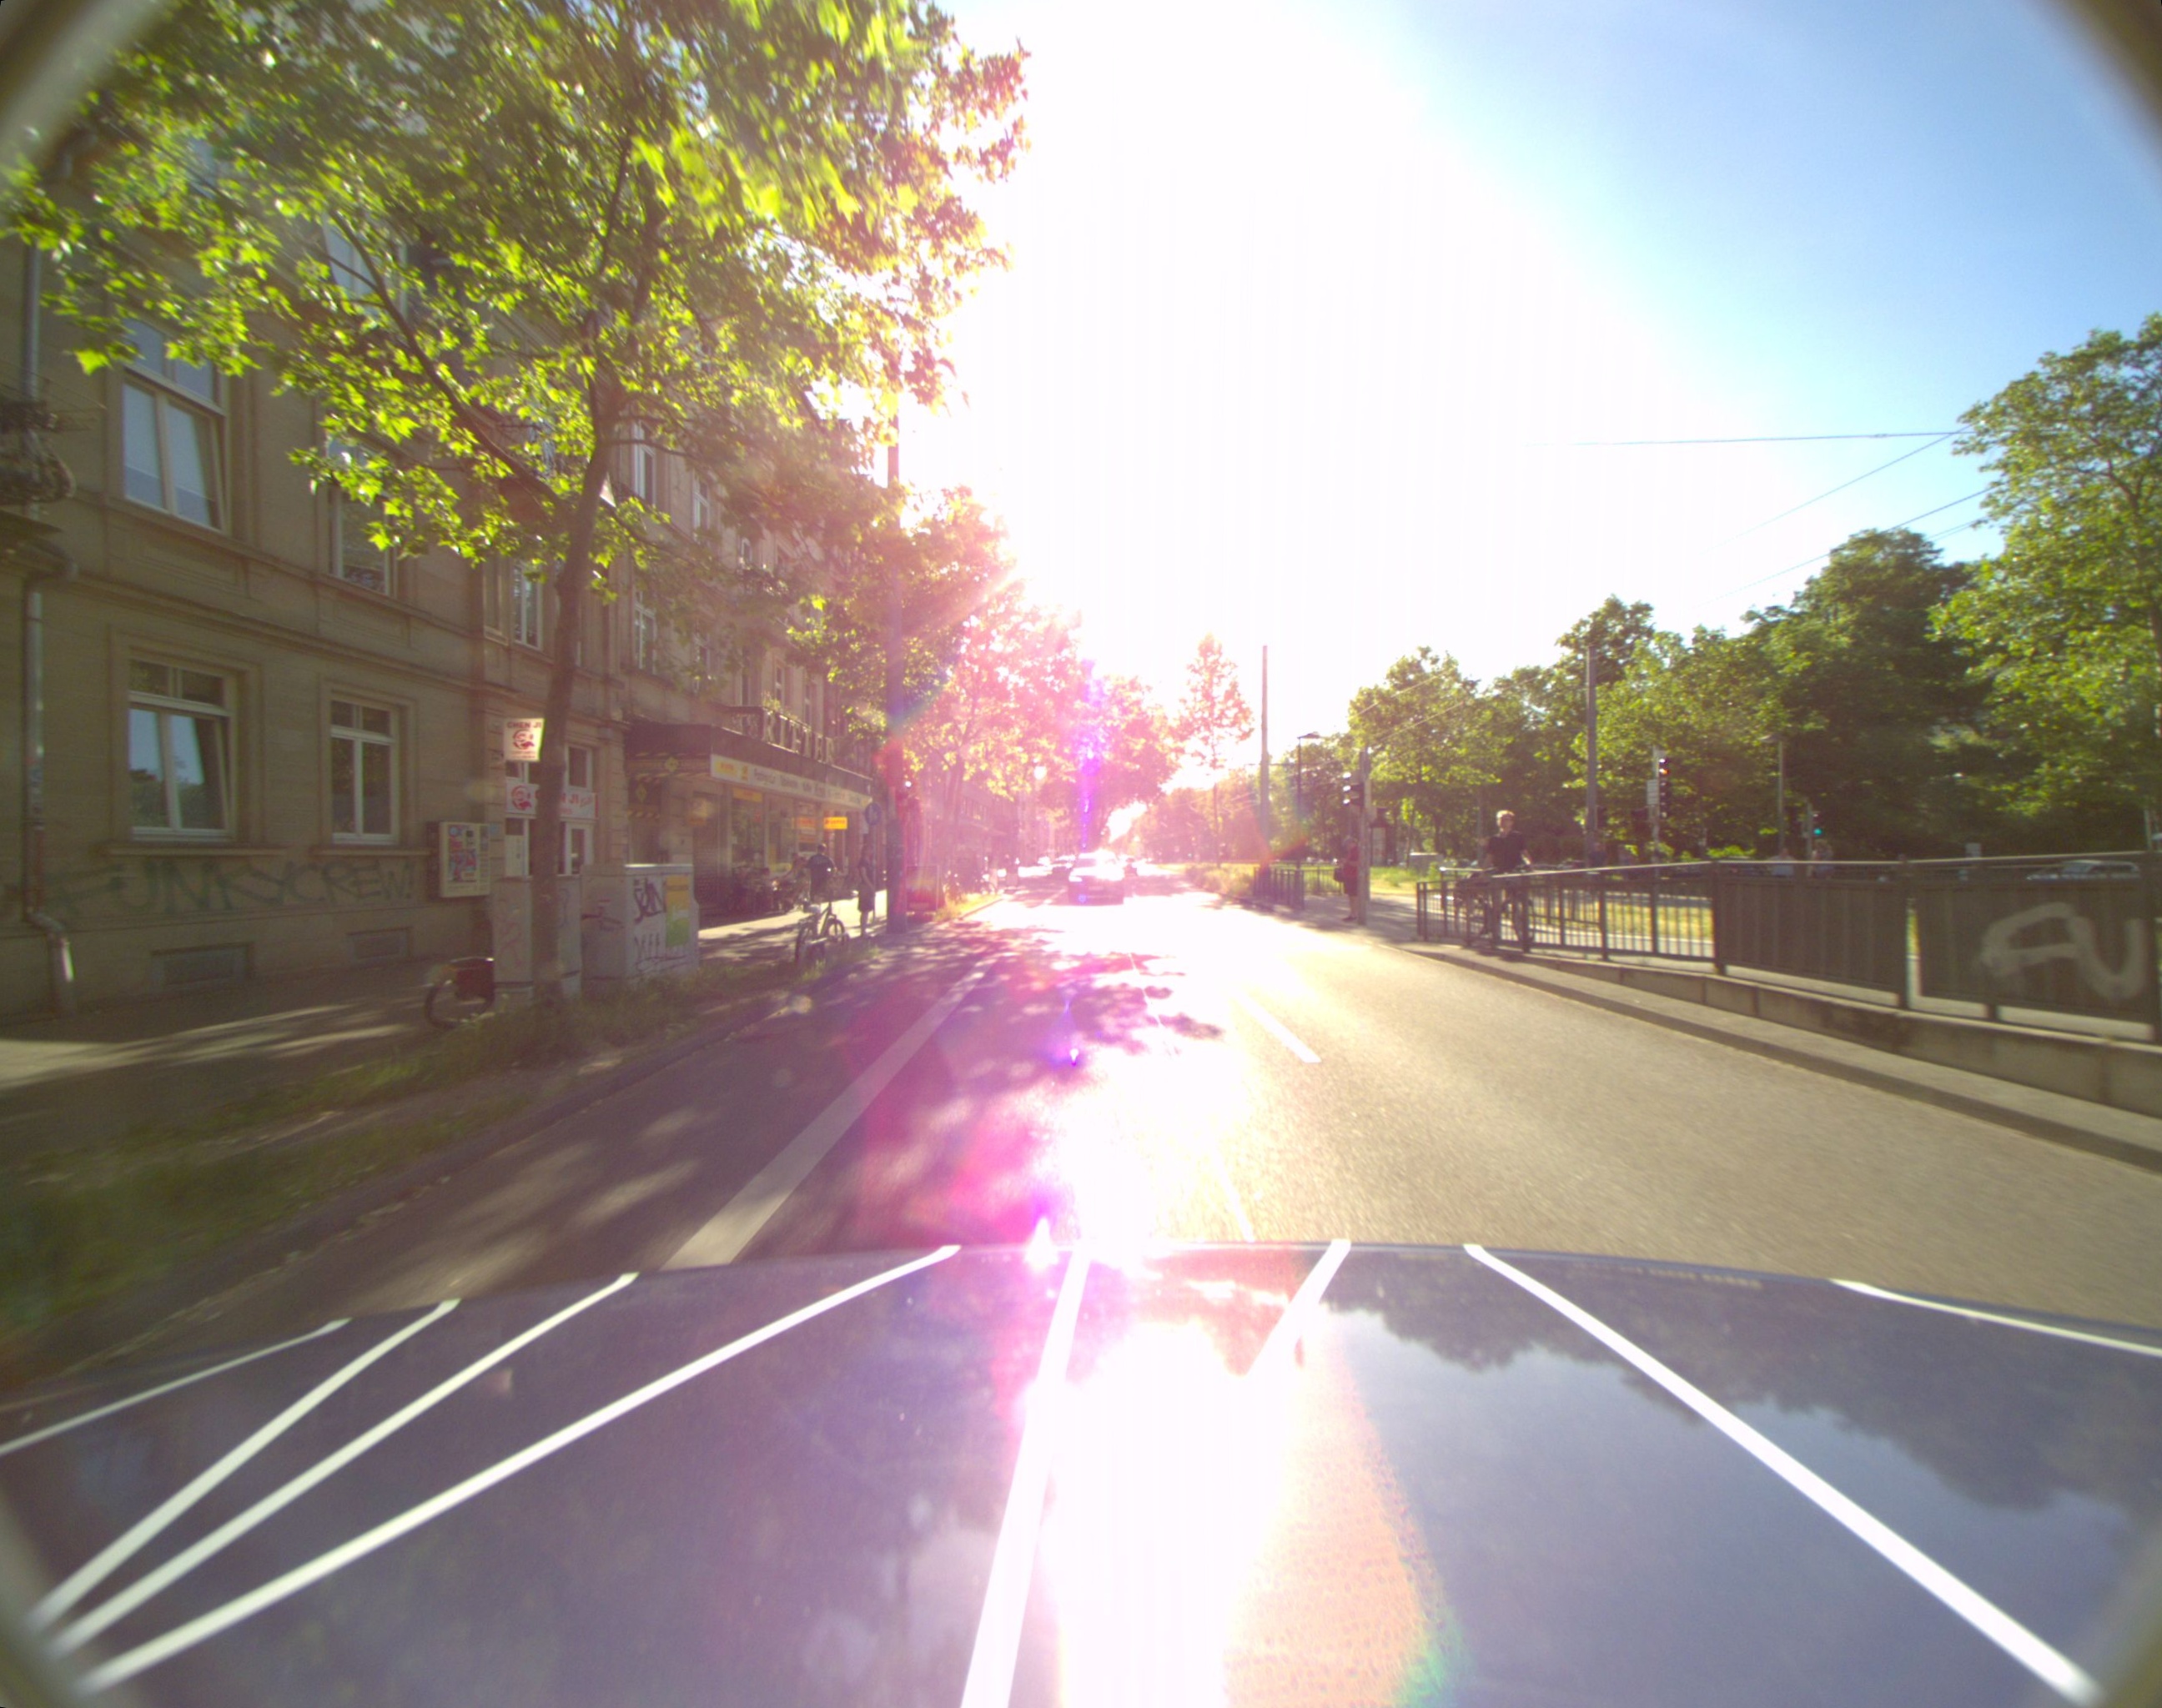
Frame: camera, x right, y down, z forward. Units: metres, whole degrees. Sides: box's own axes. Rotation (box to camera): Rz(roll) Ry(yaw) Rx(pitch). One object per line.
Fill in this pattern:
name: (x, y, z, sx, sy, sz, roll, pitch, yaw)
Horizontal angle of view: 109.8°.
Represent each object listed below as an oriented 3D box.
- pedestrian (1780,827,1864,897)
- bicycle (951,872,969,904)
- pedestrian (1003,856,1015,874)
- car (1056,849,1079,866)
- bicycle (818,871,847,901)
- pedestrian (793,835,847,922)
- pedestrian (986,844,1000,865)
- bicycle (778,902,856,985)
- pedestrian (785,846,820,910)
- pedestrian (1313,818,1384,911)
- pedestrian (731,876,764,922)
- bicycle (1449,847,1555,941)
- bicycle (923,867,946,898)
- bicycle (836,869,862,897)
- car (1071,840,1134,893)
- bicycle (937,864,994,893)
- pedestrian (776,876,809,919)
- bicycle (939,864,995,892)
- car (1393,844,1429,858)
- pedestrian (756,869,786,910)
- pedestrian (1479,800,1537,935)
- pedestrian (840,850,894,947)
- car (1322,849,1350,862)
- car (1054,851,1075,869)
pedestrian: (17.950, 0.181, 18.424, 1.180, 1.634, 0.892, 0, 1, -6)
bicycle: (-4.016, 1.112, 25.221, 0.444, 0.987, 1.687, -2, 0, -13)
pedestrian: (-7.043, 1.043, 74.421, 1.002, 1.750, 0.715, -2, 0, 1)
car: (-1.255, 0.330, 72.986, 1.810, 1.481, 4.919, -2, 0, 2)
bicycle: (-8.695, 1.111, 26.620, 0.444, 0.987, 1.688, -2, 0, 0)
pedestrian: (-6.259, 0.577, 18.274, 0.884, 2.002, 0.857, -2, 0, 5)
pedestrian: (-7.696, 0.036, 66.479, 1.002, 1.829, 0.715, -1, 1, 3)
bicycle: (-3.672, 1.210, 10.693, 0.429, 0.964, 1.750, -2, 0, 1)
pedestrian: (-8.014, 0.676, 21.870, 0.468, 1.800, 0.775, -2, 0, 33)
pedestrian: (5.673, 0.209, 16.195, 1.075, 1.905, 1.126, -1, 1, -1)
pedestrian: (-8.788, 1.167, 20.027, 0.654, 1.154, 0.672, -2, 0, -35)
bicycle: (5.836, 0.509, 10.654, 0.329, 1.207, 1.828, -1, 0, -5)
bicycle: (-5.006, 0.947, 26.024, 0.444, 0.987, 1.688, -2, 0, 0)
bicycle: (-8.954, 1.107, 29.372, 0.444, 0.987, 1.688, -2, 0, 0)
car: (0.683, 0.411, 26.921, 1.969, 1.664, 4.000, -2, 0, -1)
bicycle: (-4.291, 0.917, 28.312, 2.019, 0.987, 0.444, -2, 0, -1)
pedestrian: (-7.976, 1.193, 20.991, 0.775, 1.154, 0.468, -2, 0, -24)
bicycle: (-4.319, 0.901, 28.810, 2.009, 0.987, 0.444, -2, 0, -1)
car: (31.361, -0.277, 72.360, 1.773, 1.304, 3.781, -2, 0, 1)
pedestrian: (-8.870, 1.008, 21.773, 0.648, 1.154, 0.610, -2, 0, -10)
pedestrian: (6.164, 0.186, 10.986, 0.452, 1.892, 0.584, -1, 1, -6)
pedestrian: (-4.014, 0.814, 14.291, 0.643, 1.761, 0.869, -2, 0, 7)
car: (31.913, 0.201, 95.183, 1.999, 1.612, 3.999, -2, 0, -2)
car: (-1.394, 0.507, 65.463, 1.705, 1.416, 4.517, -2, 0, 0)
